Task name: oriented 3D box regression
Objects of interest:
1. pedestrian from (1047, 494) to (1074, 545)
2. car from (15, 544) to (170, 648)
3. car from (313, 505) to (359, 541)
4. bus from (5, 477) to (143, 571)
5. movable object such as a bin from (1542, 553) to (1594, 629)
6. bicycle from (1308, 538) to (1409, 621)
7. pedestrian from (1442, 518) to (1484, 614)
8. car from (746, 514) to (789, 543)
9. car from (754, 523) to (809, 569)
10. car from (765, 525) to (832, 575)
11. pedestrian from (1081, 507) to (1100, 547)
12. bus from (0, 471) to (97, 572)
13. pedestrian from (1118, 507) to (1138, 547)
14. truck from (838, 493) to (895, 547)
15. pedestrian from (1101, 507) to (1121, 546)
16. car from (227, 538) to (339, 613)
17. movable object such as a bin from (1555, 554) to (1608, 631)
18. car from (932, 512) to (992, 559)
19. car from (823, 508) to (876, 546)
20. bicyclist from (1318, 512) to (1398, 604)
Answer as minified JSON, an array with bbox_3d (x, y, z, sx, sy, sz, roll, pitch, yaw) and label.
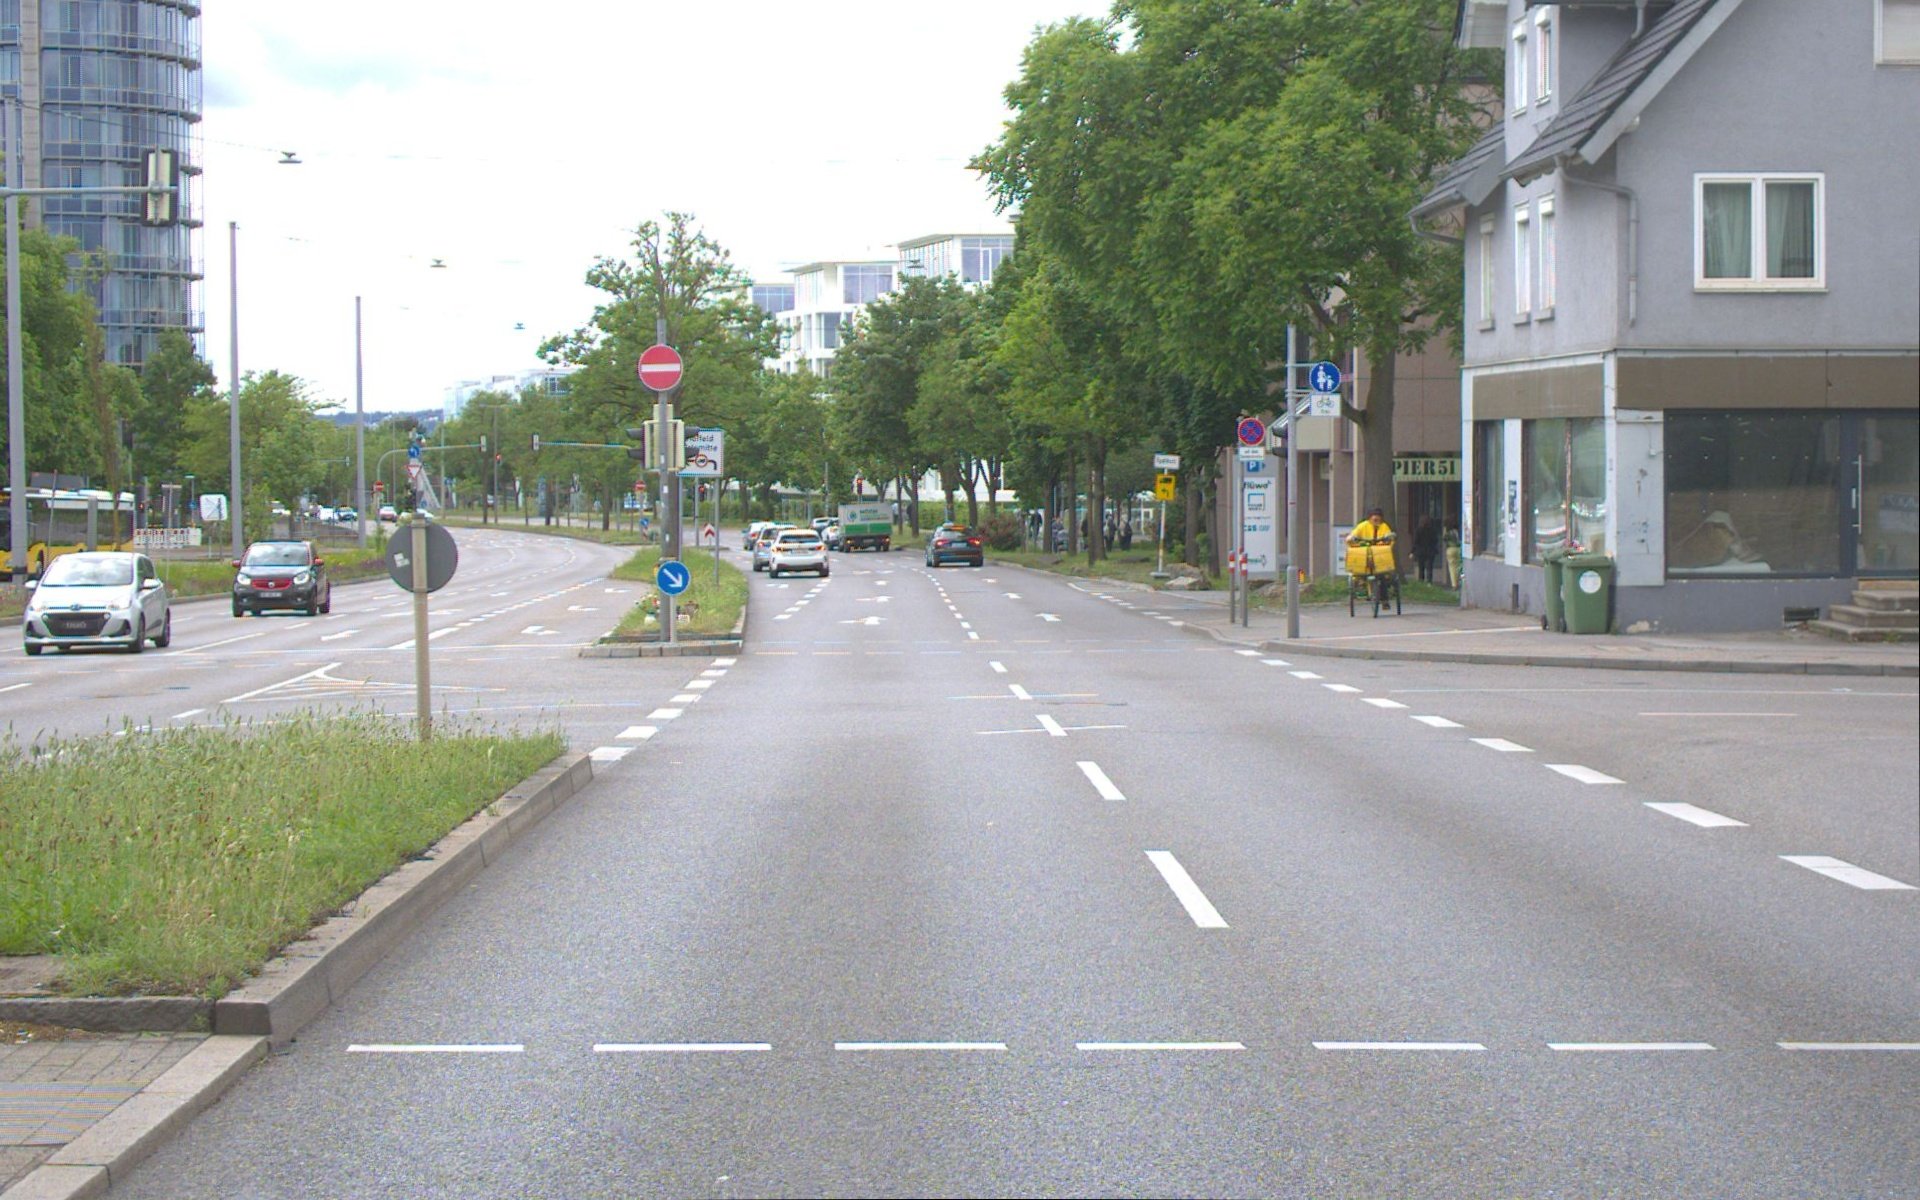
[{"bbox_3d":[3.983,-3.203,136.454,0.971,2.007,0.981,1,0,-1],"label":"pedestrian"},{"bbox_3d":[-12.807,-0.088,50.920,1.684,1.457,3.556,-1,1,-5],"label":"car"},{"bbox_3d":[-36.349,-4.470,200.255,1.965,2.007,4.000,1,1,-1],"label":"car"},{"bbox_3d":[-31.744,-2.711,123.463,3.144,3.214,7.766,-1,1,-2],"label":"bus"},{"bbox_3d":[7.929,-0.119,44.837,0.529,0.976,0.736,-1,1,-1],"label":"movable object such as a bin"},{"bbox_3d":[5.966,-0.320,51.640,1.074,1.213,2.439,-1,1,-4],"label":"bicycle"},{"bbox_3d":[9.552,-0.640,65.273,0.705,1.774,0.870,2,-2,8],"label":"pedestrian"},{"bbox_3d":[-9.704,-3.603,173.148,1.967,1.415,4.023,-1,1,-5],"label":"car"},{"bbox_3d":[-6.086,-1.864,117.401,1.822,1.535,4.115,0,1,-2],"label":"car"},{"bbox_3d":[-4.973,-1.551,106.256,1.993,1.472,4.257,-1,1,-2],"label":"car"},{"bbox_3d":[5.202,-2.908,137.109,0.650,1.564,0.671,-1,1,-8],"label":"pedestrian"},{"bbox_3d":[-31.405,-2.569,114.459,3.144,3.214,10.286,-1,1,-3],"label":"bus"},{"bbox_3d":[6.689,-2.915,137.100,0.650,1.564,0.671,-1,1,-8],"label":"pedestrian"},{"bbox_3d":[-4.277,-3.651,156.465,2.251,2.408,4.934,0,1,-5],"label":"truck"},{"bbox_3d":[6.014,-2.924,136.944,0.650,1.564,0.671,-1,1,-8],"label":"pedestrian"},{"bbox_3d":[-13.921,-0.530,70.839,1.702,1.487,3.562,-1,1,-2],"label":"car"},{"bbox_3d":[7.957,-0.102,44.047,0.529,0.976,0.736,-1,1,-1],"label":"movable object such as a bin"},{"bbox_3d":[0.062,-2.226,119.615,1.889,1.489,4.099,-2,0,-2],"label":"car"},{"bbox_3d":[-5.323,-3.484,165.062,2.251,1.751,4.934,-1,1,-5],"label":"car"},{"bbox_3d":[5.960,-0.627,51.551,1.074,1.352,0.628,-1,1,-4],"label":"bicyclist"}]
